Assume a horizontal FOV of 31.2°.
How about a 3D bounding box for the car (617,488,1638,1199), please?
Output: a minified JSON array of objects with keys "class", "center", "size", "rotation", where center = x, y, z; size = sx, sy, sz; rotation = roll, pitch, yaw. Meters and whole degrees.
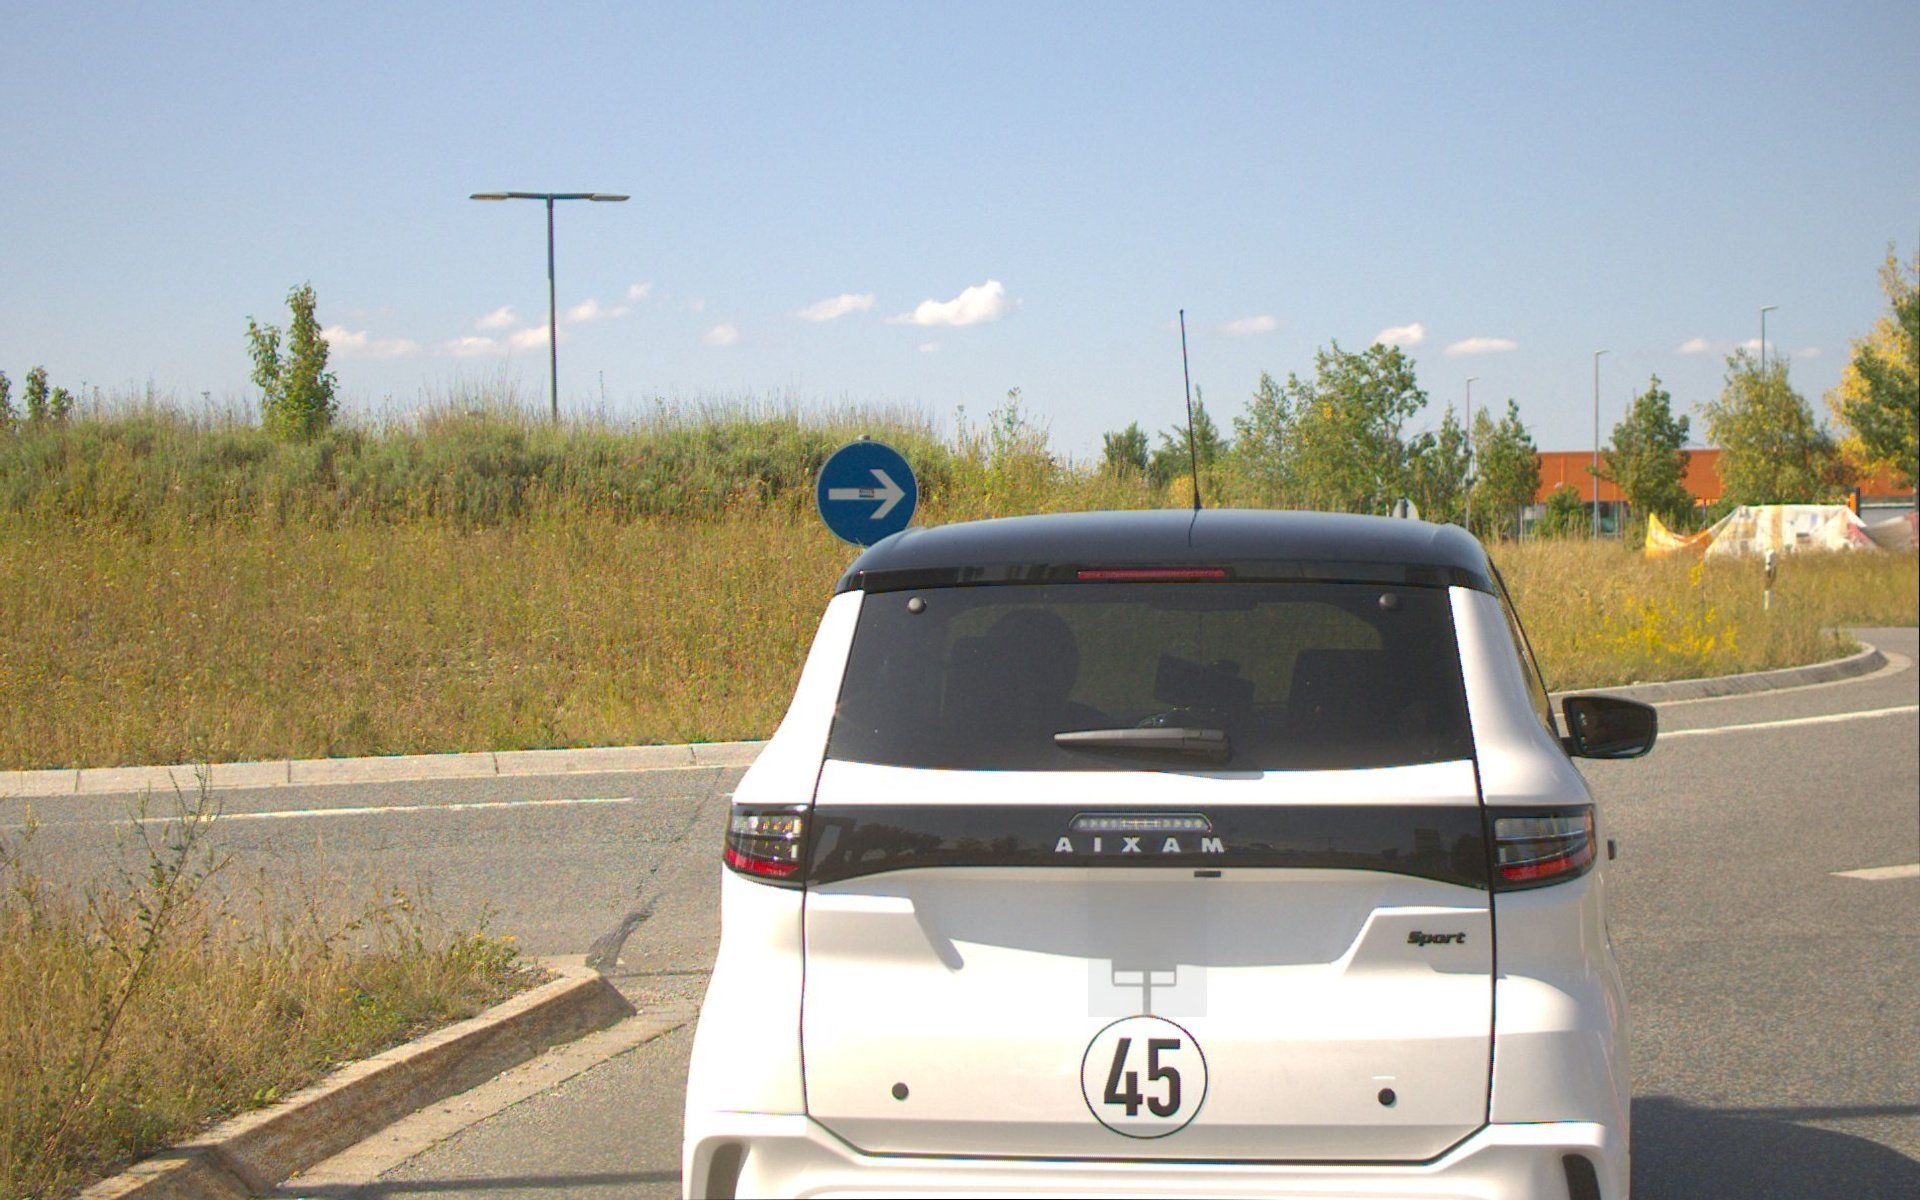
[{"class":"car","center":[0.499,0.535,6.743],"size":[1.510,1.435,3.350],"rotation":[0,3,9]}]
